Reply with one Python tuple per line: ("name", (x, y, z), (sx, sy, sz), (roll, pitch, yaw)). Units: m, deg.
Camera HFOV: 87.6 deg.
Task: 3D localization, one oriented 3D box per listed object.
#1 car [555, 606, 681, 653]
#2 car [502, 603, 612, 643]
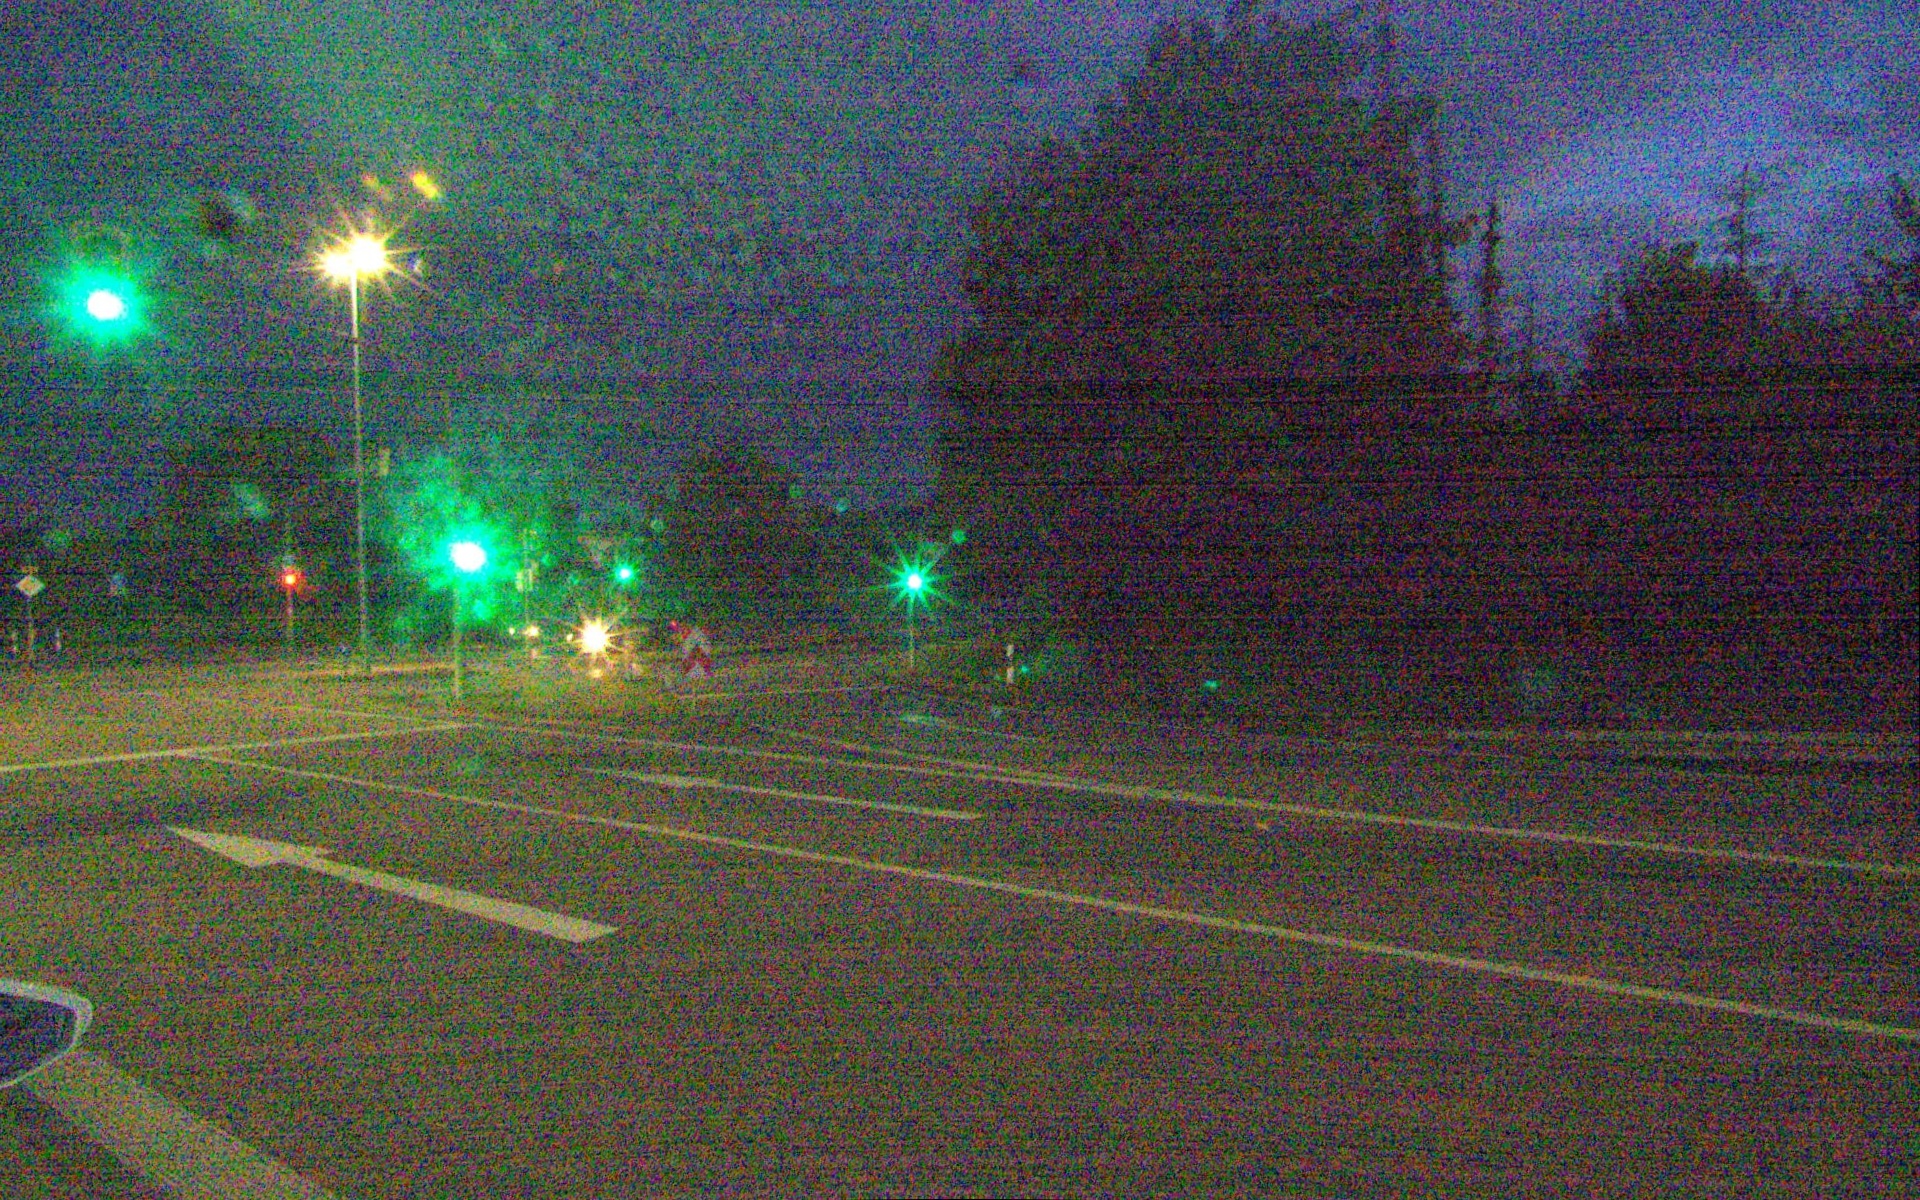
("car", (-12.296, 1.042, 36.256), (1.972, 1.590, 4.070), (0, -1, 29))
("car", (-16.718, 0.932, 41.753), (1.871, 1.590, 3.983), (0, 0, 29))
